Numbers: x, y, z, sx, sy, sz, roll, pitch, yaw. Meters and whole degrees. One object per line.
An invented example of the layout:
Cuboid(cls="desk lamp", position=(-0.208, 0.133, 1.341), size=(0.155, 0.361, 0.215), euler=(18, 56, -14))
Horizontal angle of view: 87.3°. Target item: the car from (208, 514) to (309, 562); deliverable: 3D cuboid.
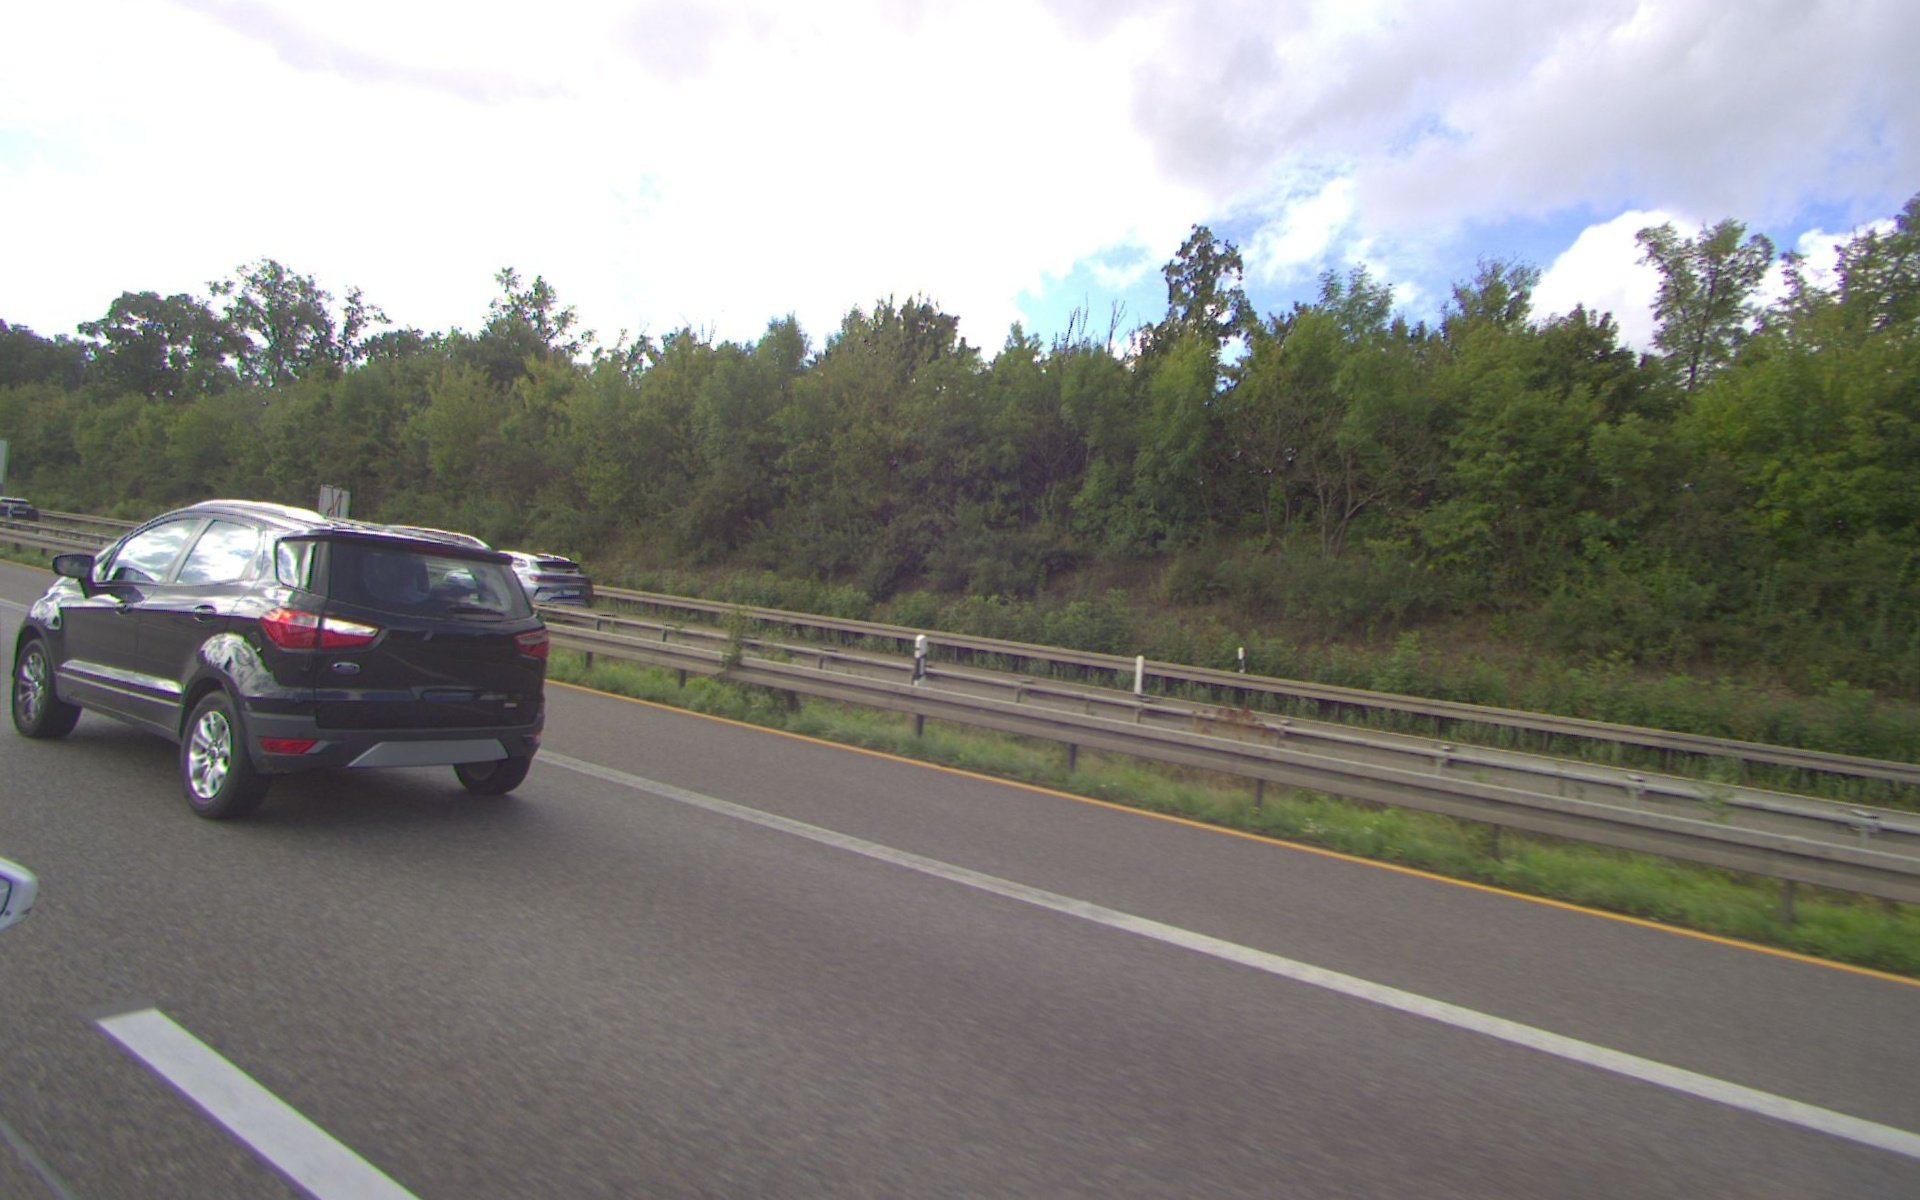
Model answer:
Cuboid(cls="car", position=(-29.157, -2.578, 41.789), size=(4.233, 1.566, 1.730), euler=(7, 2, 30))

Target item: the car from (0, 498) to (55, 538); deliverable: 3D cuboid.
Cuboid(cls="car", position=(-44.880, -3.947, 47.749), size=(4.119, 1.564, 1.598), euler=(6, -1, 30))

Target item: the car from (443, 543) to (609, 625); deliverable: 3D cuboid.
Cuboid(cls="car", position=(-11.487, -0.435, 26.572), size=(4.234, 1.671, 1.847), euler=(7, 2, 32))

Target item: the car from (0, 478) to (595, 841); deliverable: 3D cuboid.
Cuboid(cls="car", position=(-4.484, 0.221, 6.507), size=(4.045, 1.583, 1.700), euler=(7, 0, 31))
